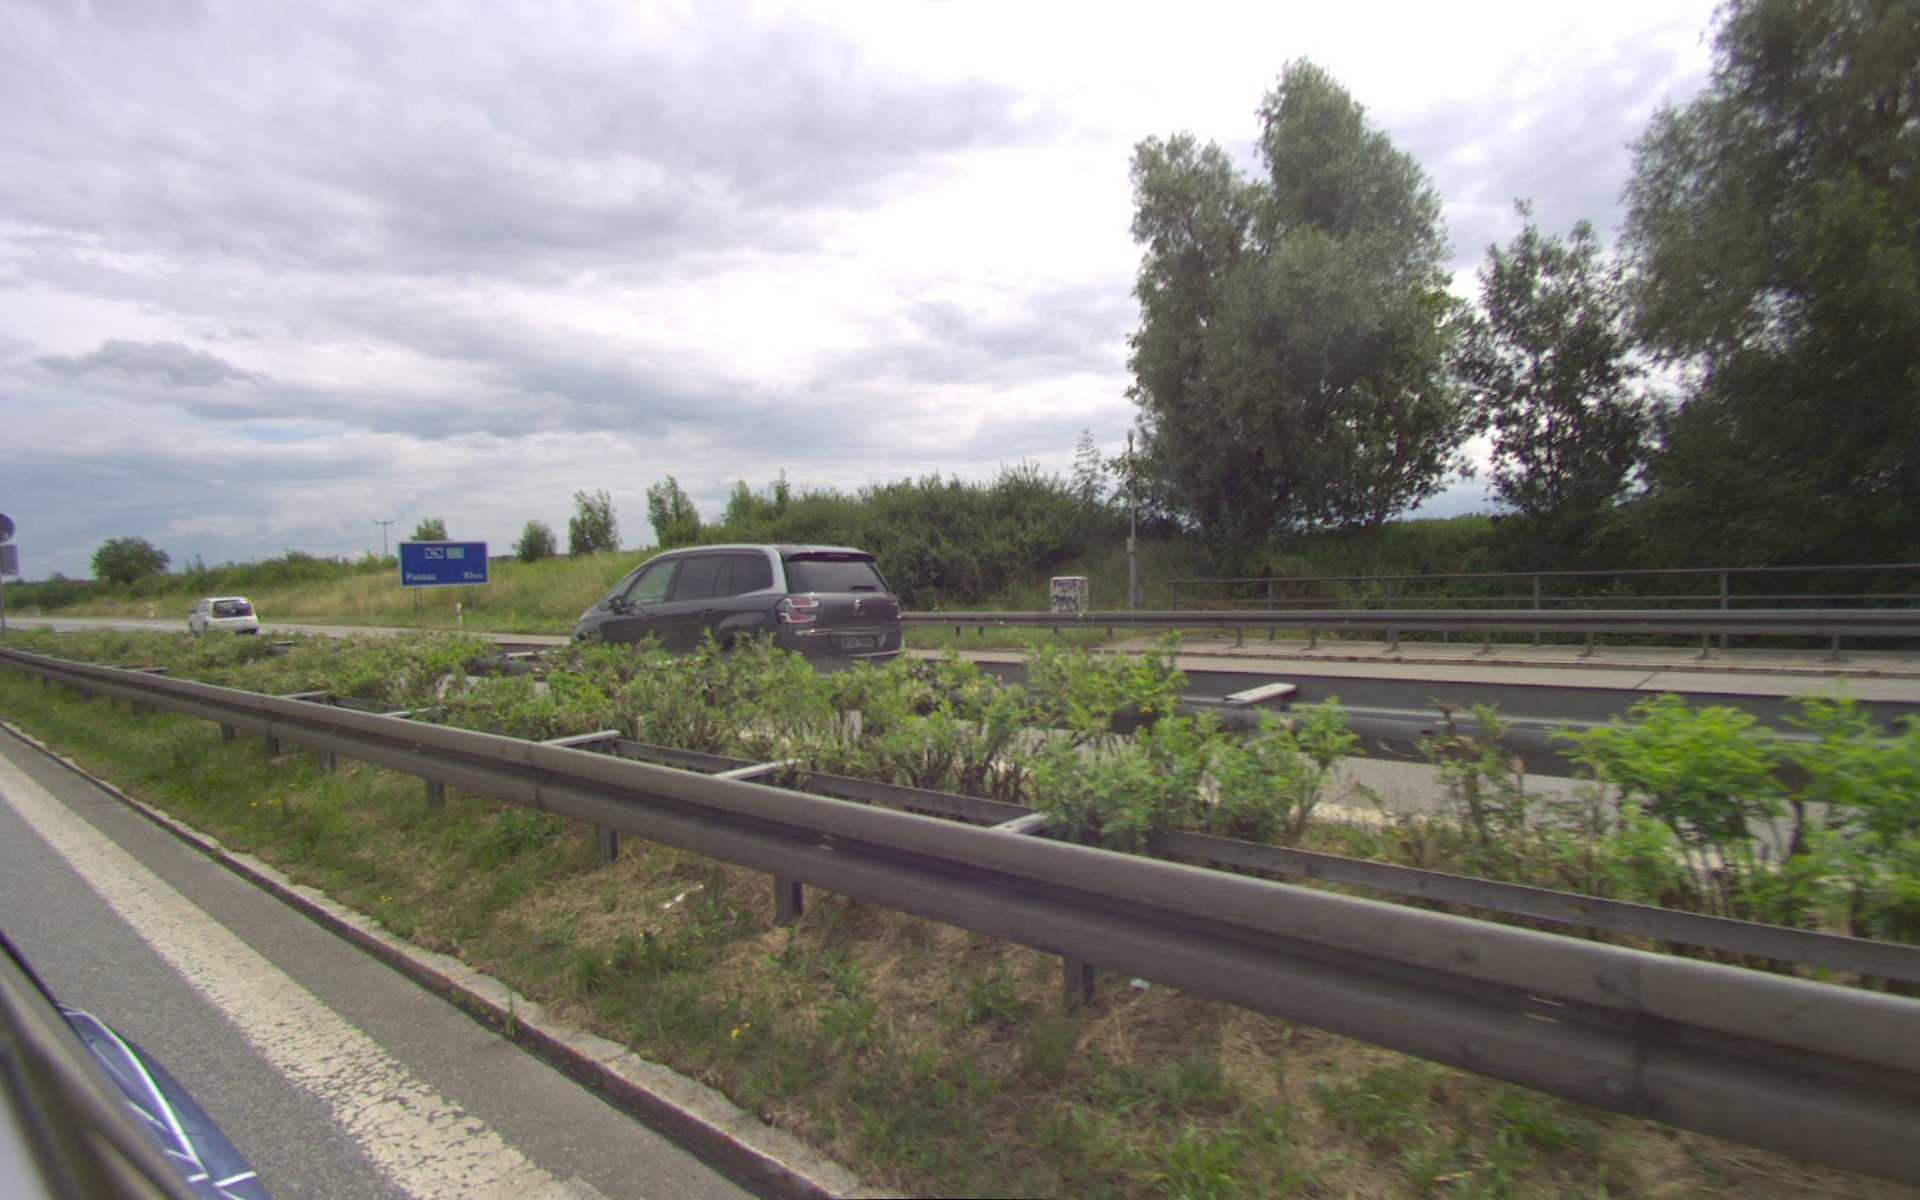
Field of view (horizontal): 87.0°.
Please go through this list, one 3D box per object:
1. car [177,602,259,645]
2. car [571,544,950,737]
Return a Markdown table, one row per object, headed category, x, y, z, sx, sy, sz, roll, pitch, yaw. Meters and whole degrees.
| category | x | y | z | sx | sy | sz | roll | pitch | yaw |
| --- | --- | --- | --- | --- | --- | --- | --- | --- | --- |
| car | -28.830 | 0.896 | 39.267 | 4.280 | 1.503 | 1.633 | -1 | 1 | 41 |
| car | -2.252 | 0.353 | 10.732 | 4.221 | 1.663 | 1.707 | -1 | 1 | 42 |
